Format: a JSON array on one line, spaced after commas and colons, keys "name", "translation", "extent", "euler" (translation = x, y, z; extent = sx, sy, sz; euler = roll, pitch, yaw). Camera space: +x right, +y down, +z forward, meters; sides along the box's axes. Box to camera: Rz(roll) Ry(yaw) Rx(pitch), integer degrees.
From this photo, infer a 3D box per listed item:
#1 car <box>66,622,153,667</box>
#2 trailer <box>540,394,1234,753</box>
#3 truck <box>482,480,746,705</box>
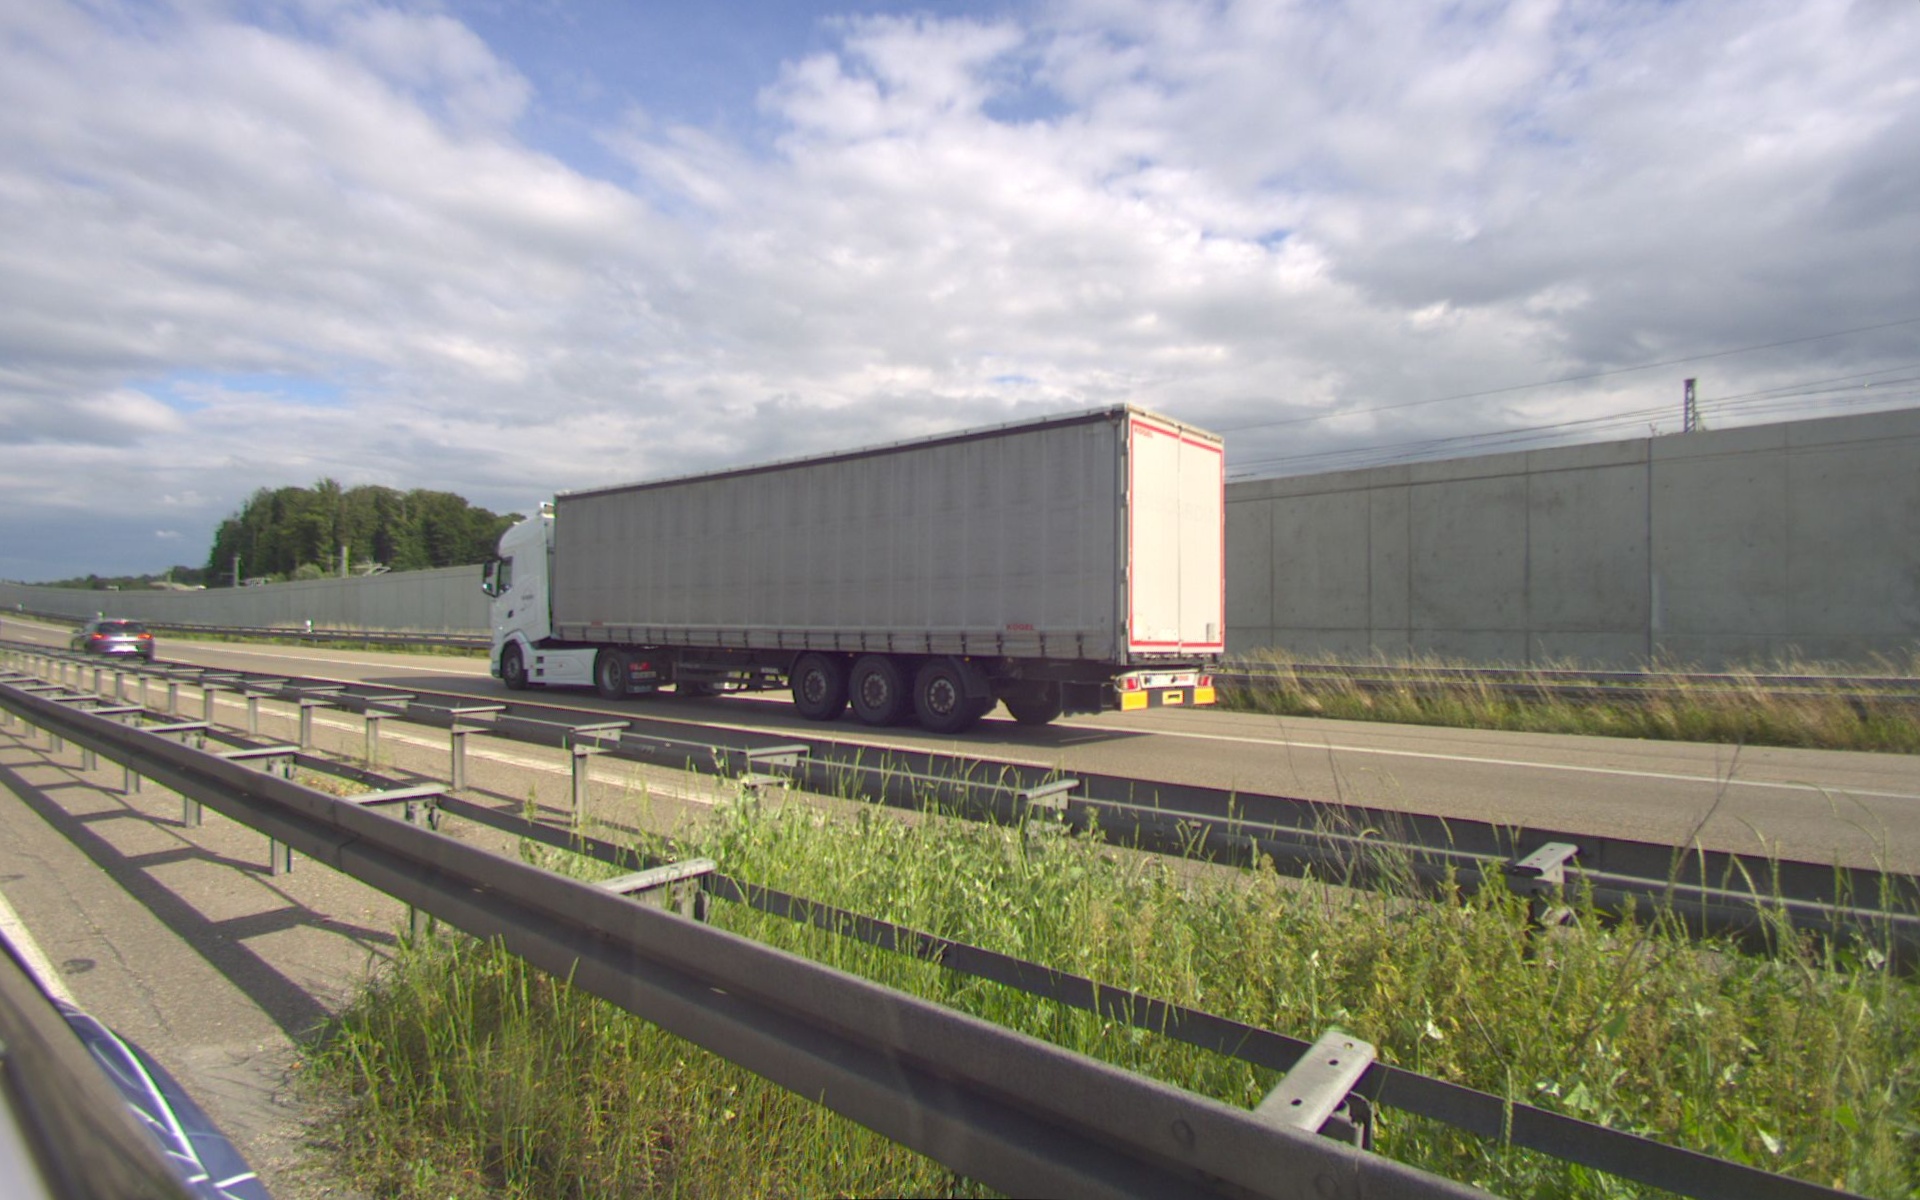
[{"name": "car", "translation": [-28.459, 1.439, 33.830], "extent": [3.894, 1.411, 1.616], "euler": [-1, -1, 41]}, {"name": "trailer", "translation": [-2.416, -0.170, 17.002], "extent": [13.783, 4.069, 2.656], "euler": [-1, -2, 41]}, {"name": "truck", "translation": [-7.405, -0.071, 21.335], "extent": [5.876, 4.099, 2.657], "euler": [-1, -2, 41]}]
